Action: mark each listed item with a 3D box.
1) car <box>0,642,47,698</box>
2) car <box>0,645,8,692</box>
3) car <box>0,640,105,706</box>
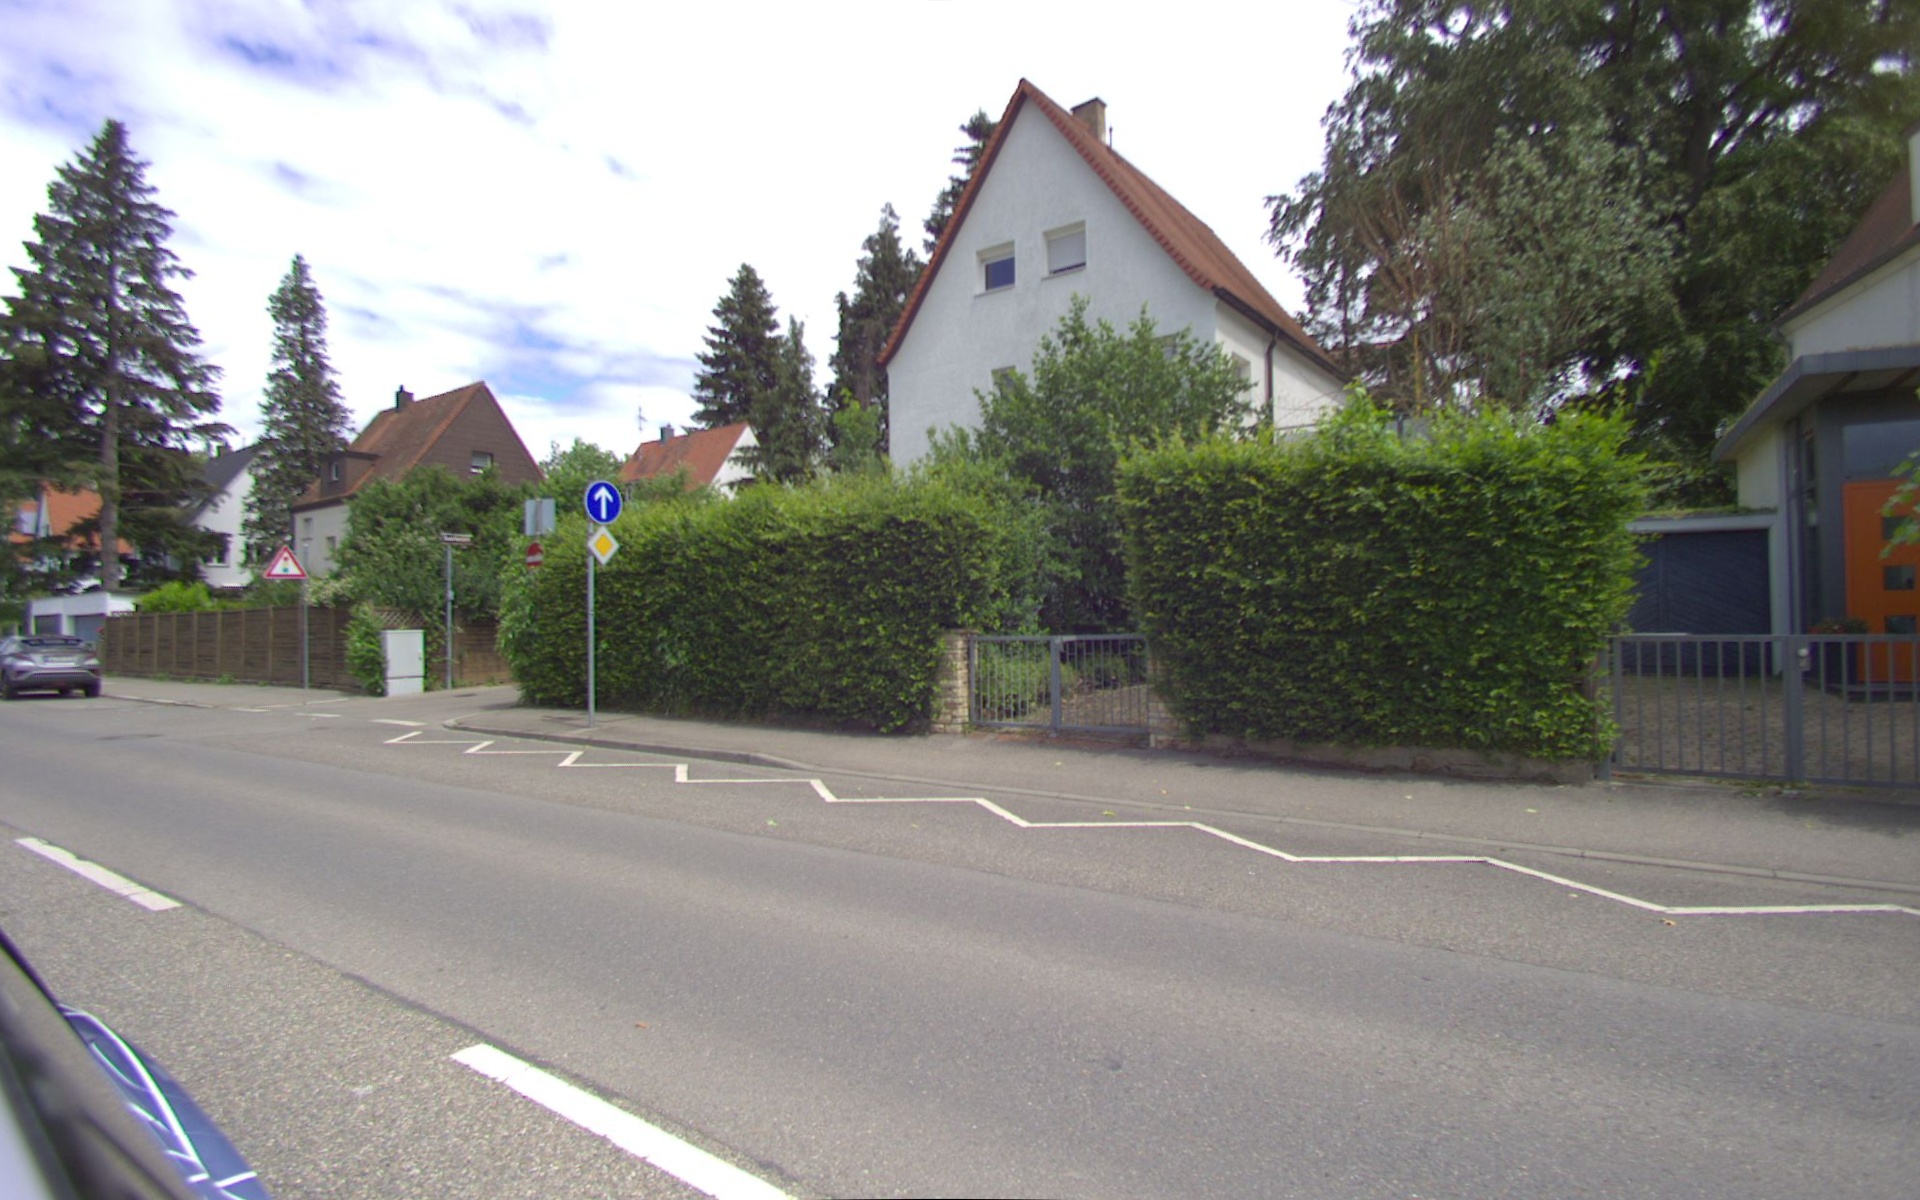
[{"bbox_3d":[-27.220,1.945,28.286,4.483,1.470,1.849,-2,-2,39],"label":"car"},{"bbox_3d":[-31.181,2.140,31.307,3.894,1.438,1.638,-3,-3,33],"label":"car"},{"bbox_3d":[-22.909,1.752,24.983,4.642,1.491,1.973,-2,-3,40],"label":"car"}]
